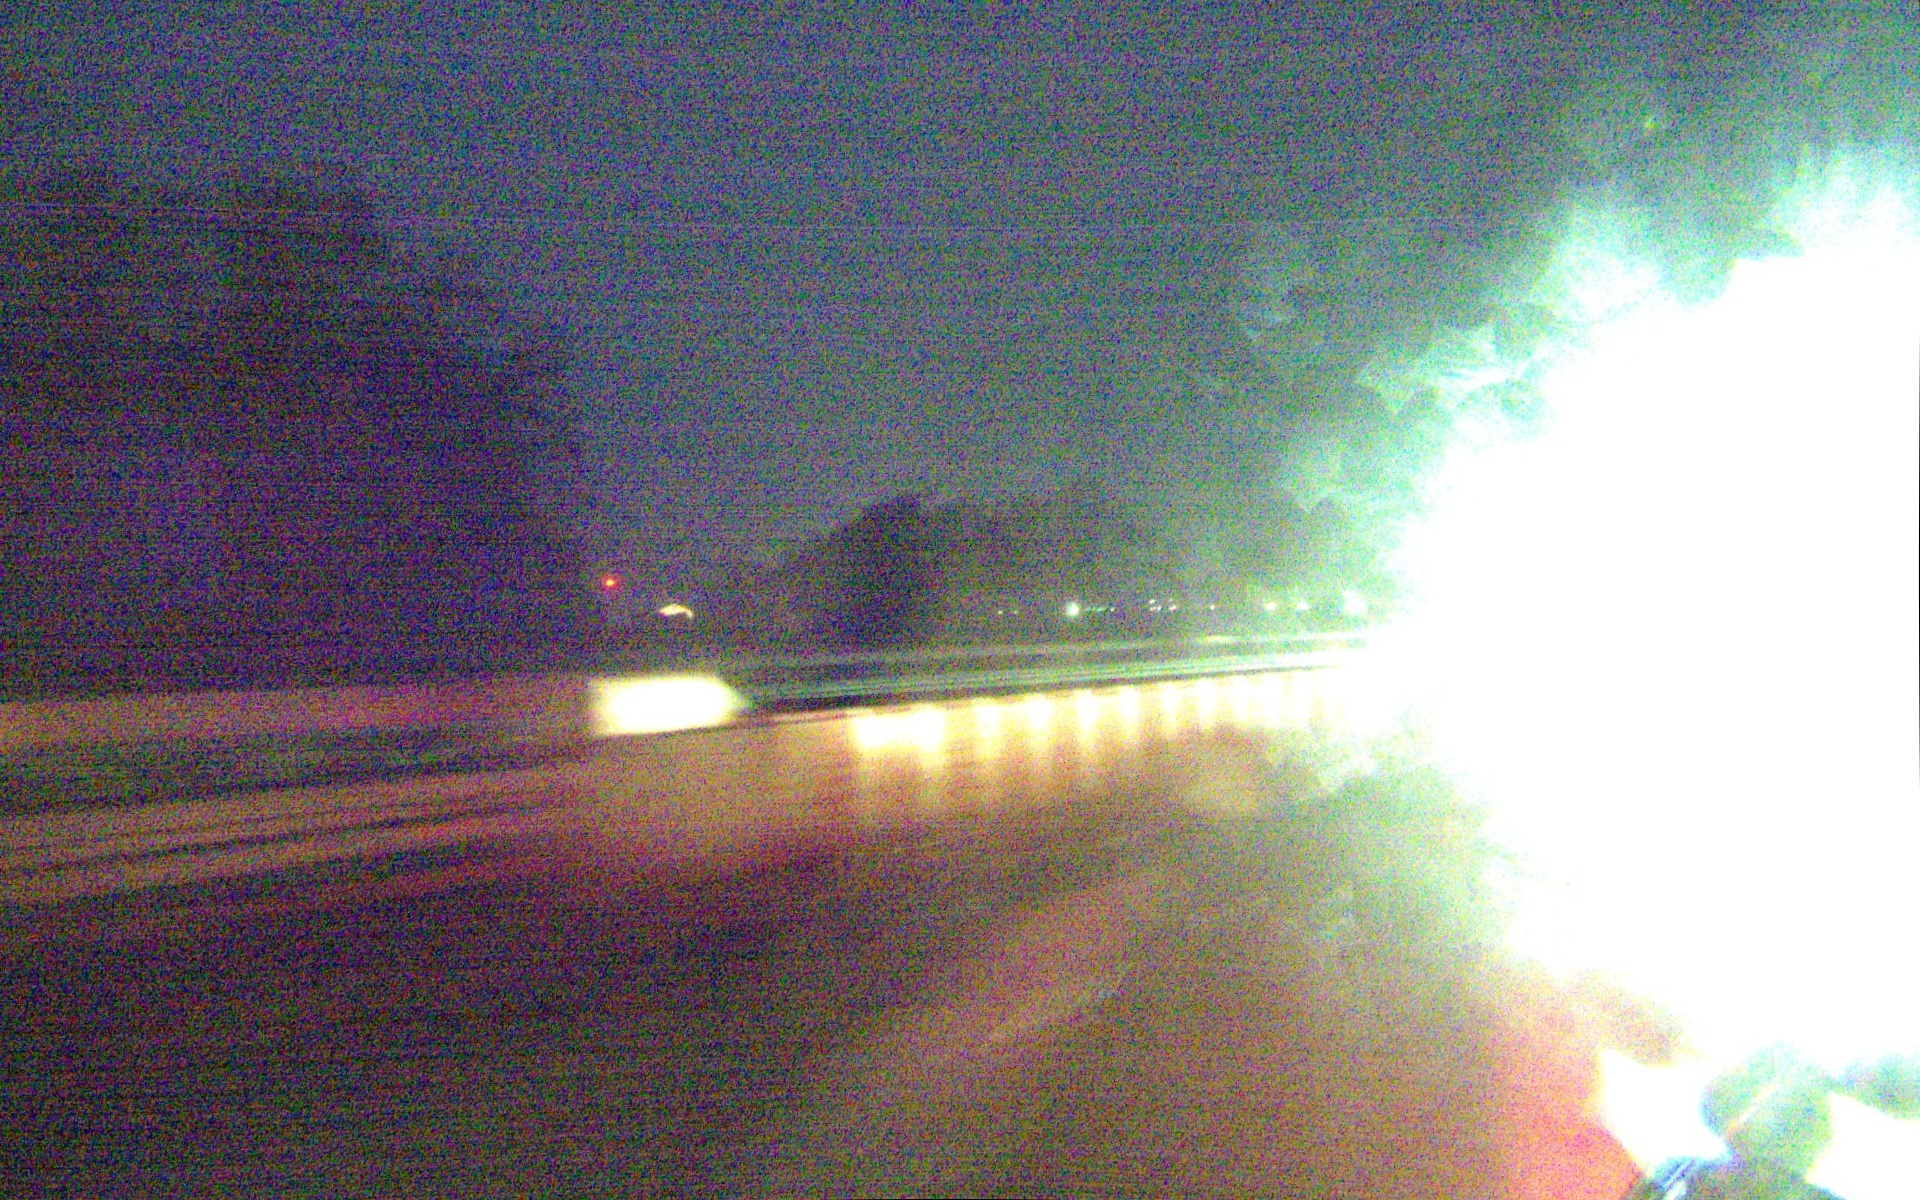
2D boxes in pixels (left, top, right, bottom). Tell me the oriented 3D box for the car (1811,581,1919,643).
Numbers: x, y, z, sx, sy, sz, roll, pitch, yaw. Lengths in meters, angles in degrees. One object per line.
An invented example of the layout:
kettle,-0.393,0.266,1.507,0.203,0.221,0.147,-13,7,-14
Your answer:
car,27.287,0.336,30.340,4.043,1.706,1.741,-1,-2,-36
